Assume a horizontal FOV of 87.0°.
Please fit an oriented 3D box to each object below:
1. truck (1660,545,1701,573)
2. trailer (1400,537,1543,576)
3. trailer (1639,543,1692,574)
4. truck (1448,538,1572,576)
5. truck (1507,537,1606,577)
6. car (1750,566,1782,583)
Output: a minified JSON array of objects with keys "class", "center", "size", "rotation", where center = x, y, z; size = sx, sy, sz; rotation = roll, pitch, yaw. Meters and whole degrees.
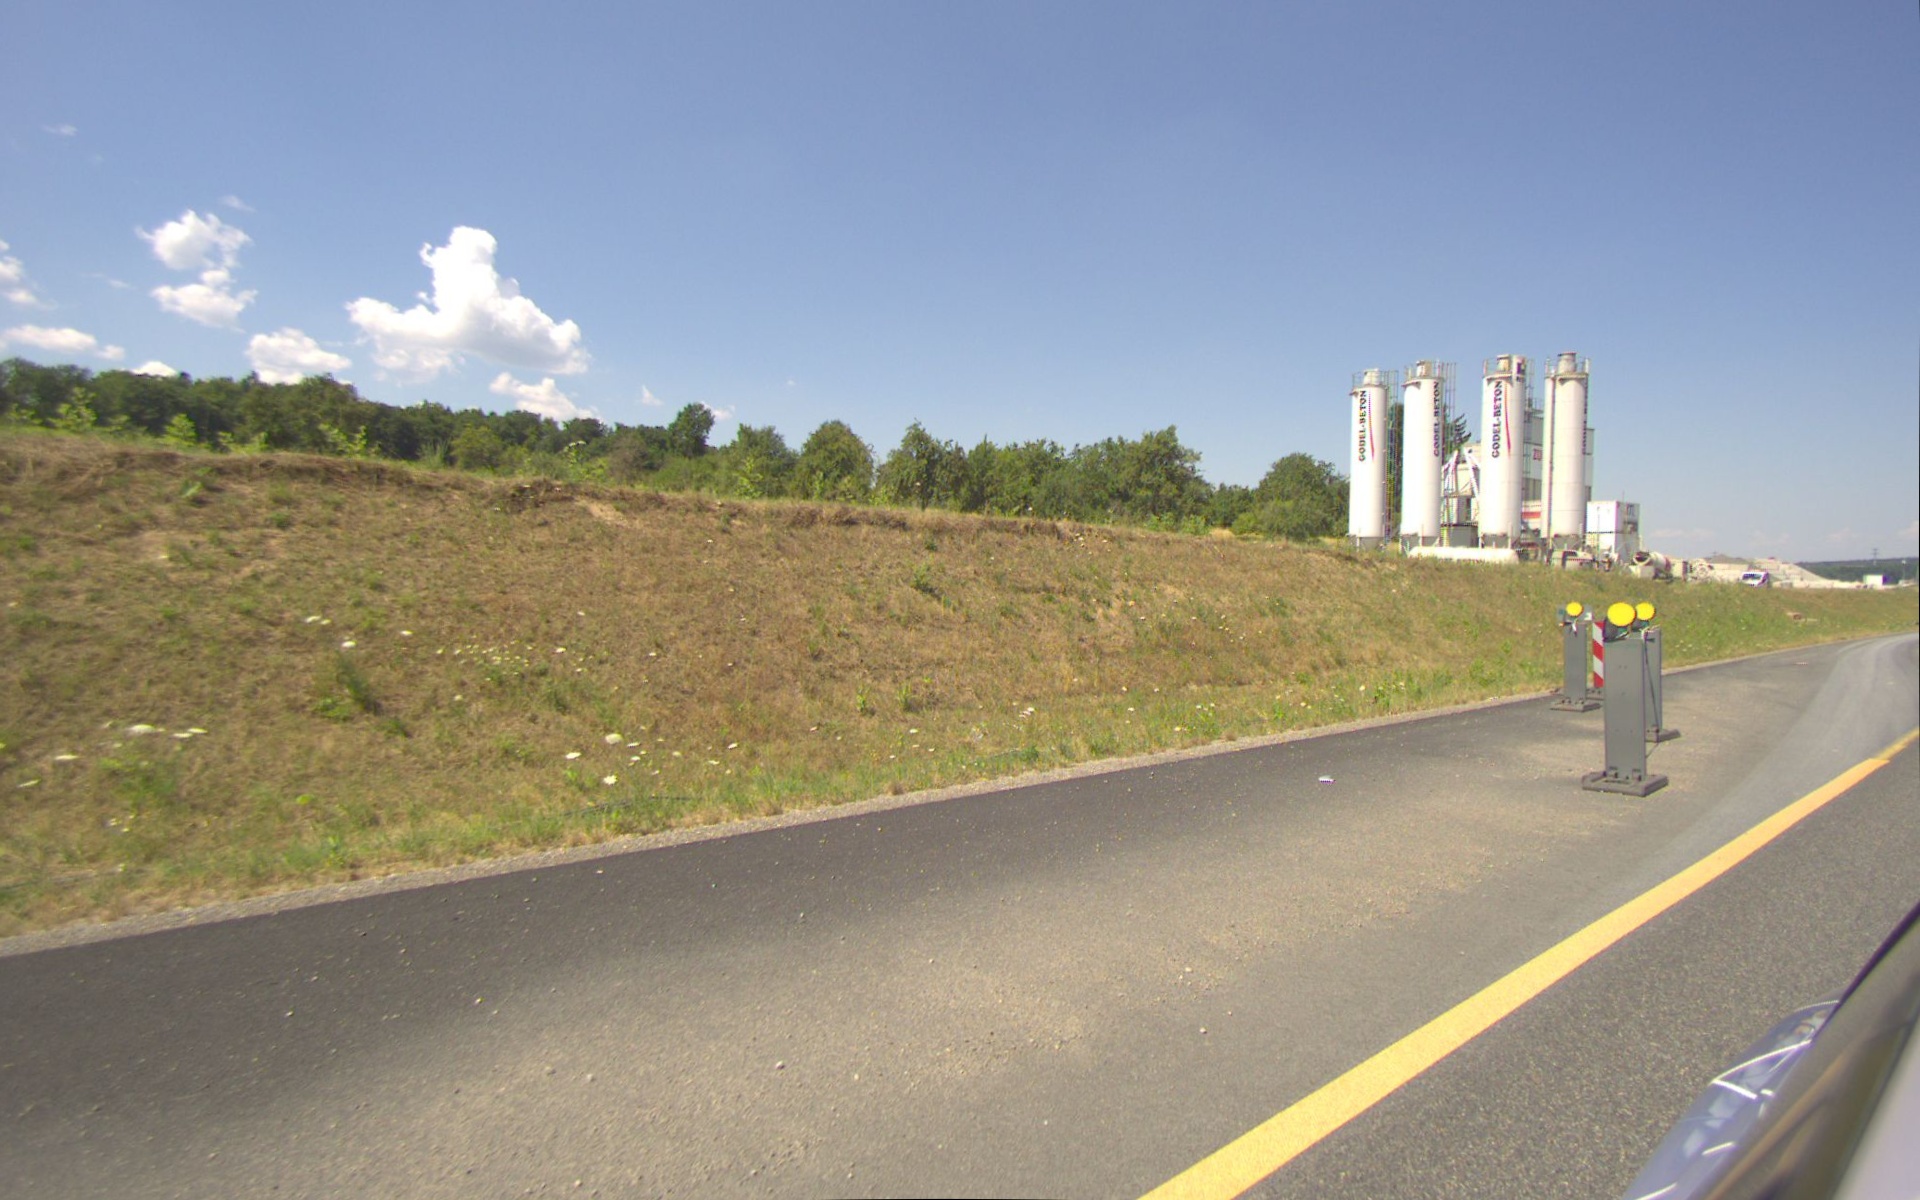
[{"class":"truck","center":[67.295,-3.798,94.557],"size":[3.966,2.577,2.022],"rotation":[-1,0,-37]},{"class":"trailer","center":[36.462,-3.040,72.522],"size":[2.423,2.639,8.904],"rotation":[0,1,-43]},{"class":"trailer","center":[64.470,-3.738,92.400],"size":[6.808,2.677,1.999],"rotation":[-1,0,-37]},{"class":"truck","center":[46.146,-3.541,85.314],"size":[2.412,2.904,9.104],"rotation":[0,0,-34]},{"class":"truck","center":[40.859,-2.904,69.498],"size":[5.229,2.576,2.893],"rotation":[0,0,14]},{"class":"car","center":[84.395,-2.633,105.993],"size":[3.539,1.785,1.989],"rotation":[-1,0,-41]}]
